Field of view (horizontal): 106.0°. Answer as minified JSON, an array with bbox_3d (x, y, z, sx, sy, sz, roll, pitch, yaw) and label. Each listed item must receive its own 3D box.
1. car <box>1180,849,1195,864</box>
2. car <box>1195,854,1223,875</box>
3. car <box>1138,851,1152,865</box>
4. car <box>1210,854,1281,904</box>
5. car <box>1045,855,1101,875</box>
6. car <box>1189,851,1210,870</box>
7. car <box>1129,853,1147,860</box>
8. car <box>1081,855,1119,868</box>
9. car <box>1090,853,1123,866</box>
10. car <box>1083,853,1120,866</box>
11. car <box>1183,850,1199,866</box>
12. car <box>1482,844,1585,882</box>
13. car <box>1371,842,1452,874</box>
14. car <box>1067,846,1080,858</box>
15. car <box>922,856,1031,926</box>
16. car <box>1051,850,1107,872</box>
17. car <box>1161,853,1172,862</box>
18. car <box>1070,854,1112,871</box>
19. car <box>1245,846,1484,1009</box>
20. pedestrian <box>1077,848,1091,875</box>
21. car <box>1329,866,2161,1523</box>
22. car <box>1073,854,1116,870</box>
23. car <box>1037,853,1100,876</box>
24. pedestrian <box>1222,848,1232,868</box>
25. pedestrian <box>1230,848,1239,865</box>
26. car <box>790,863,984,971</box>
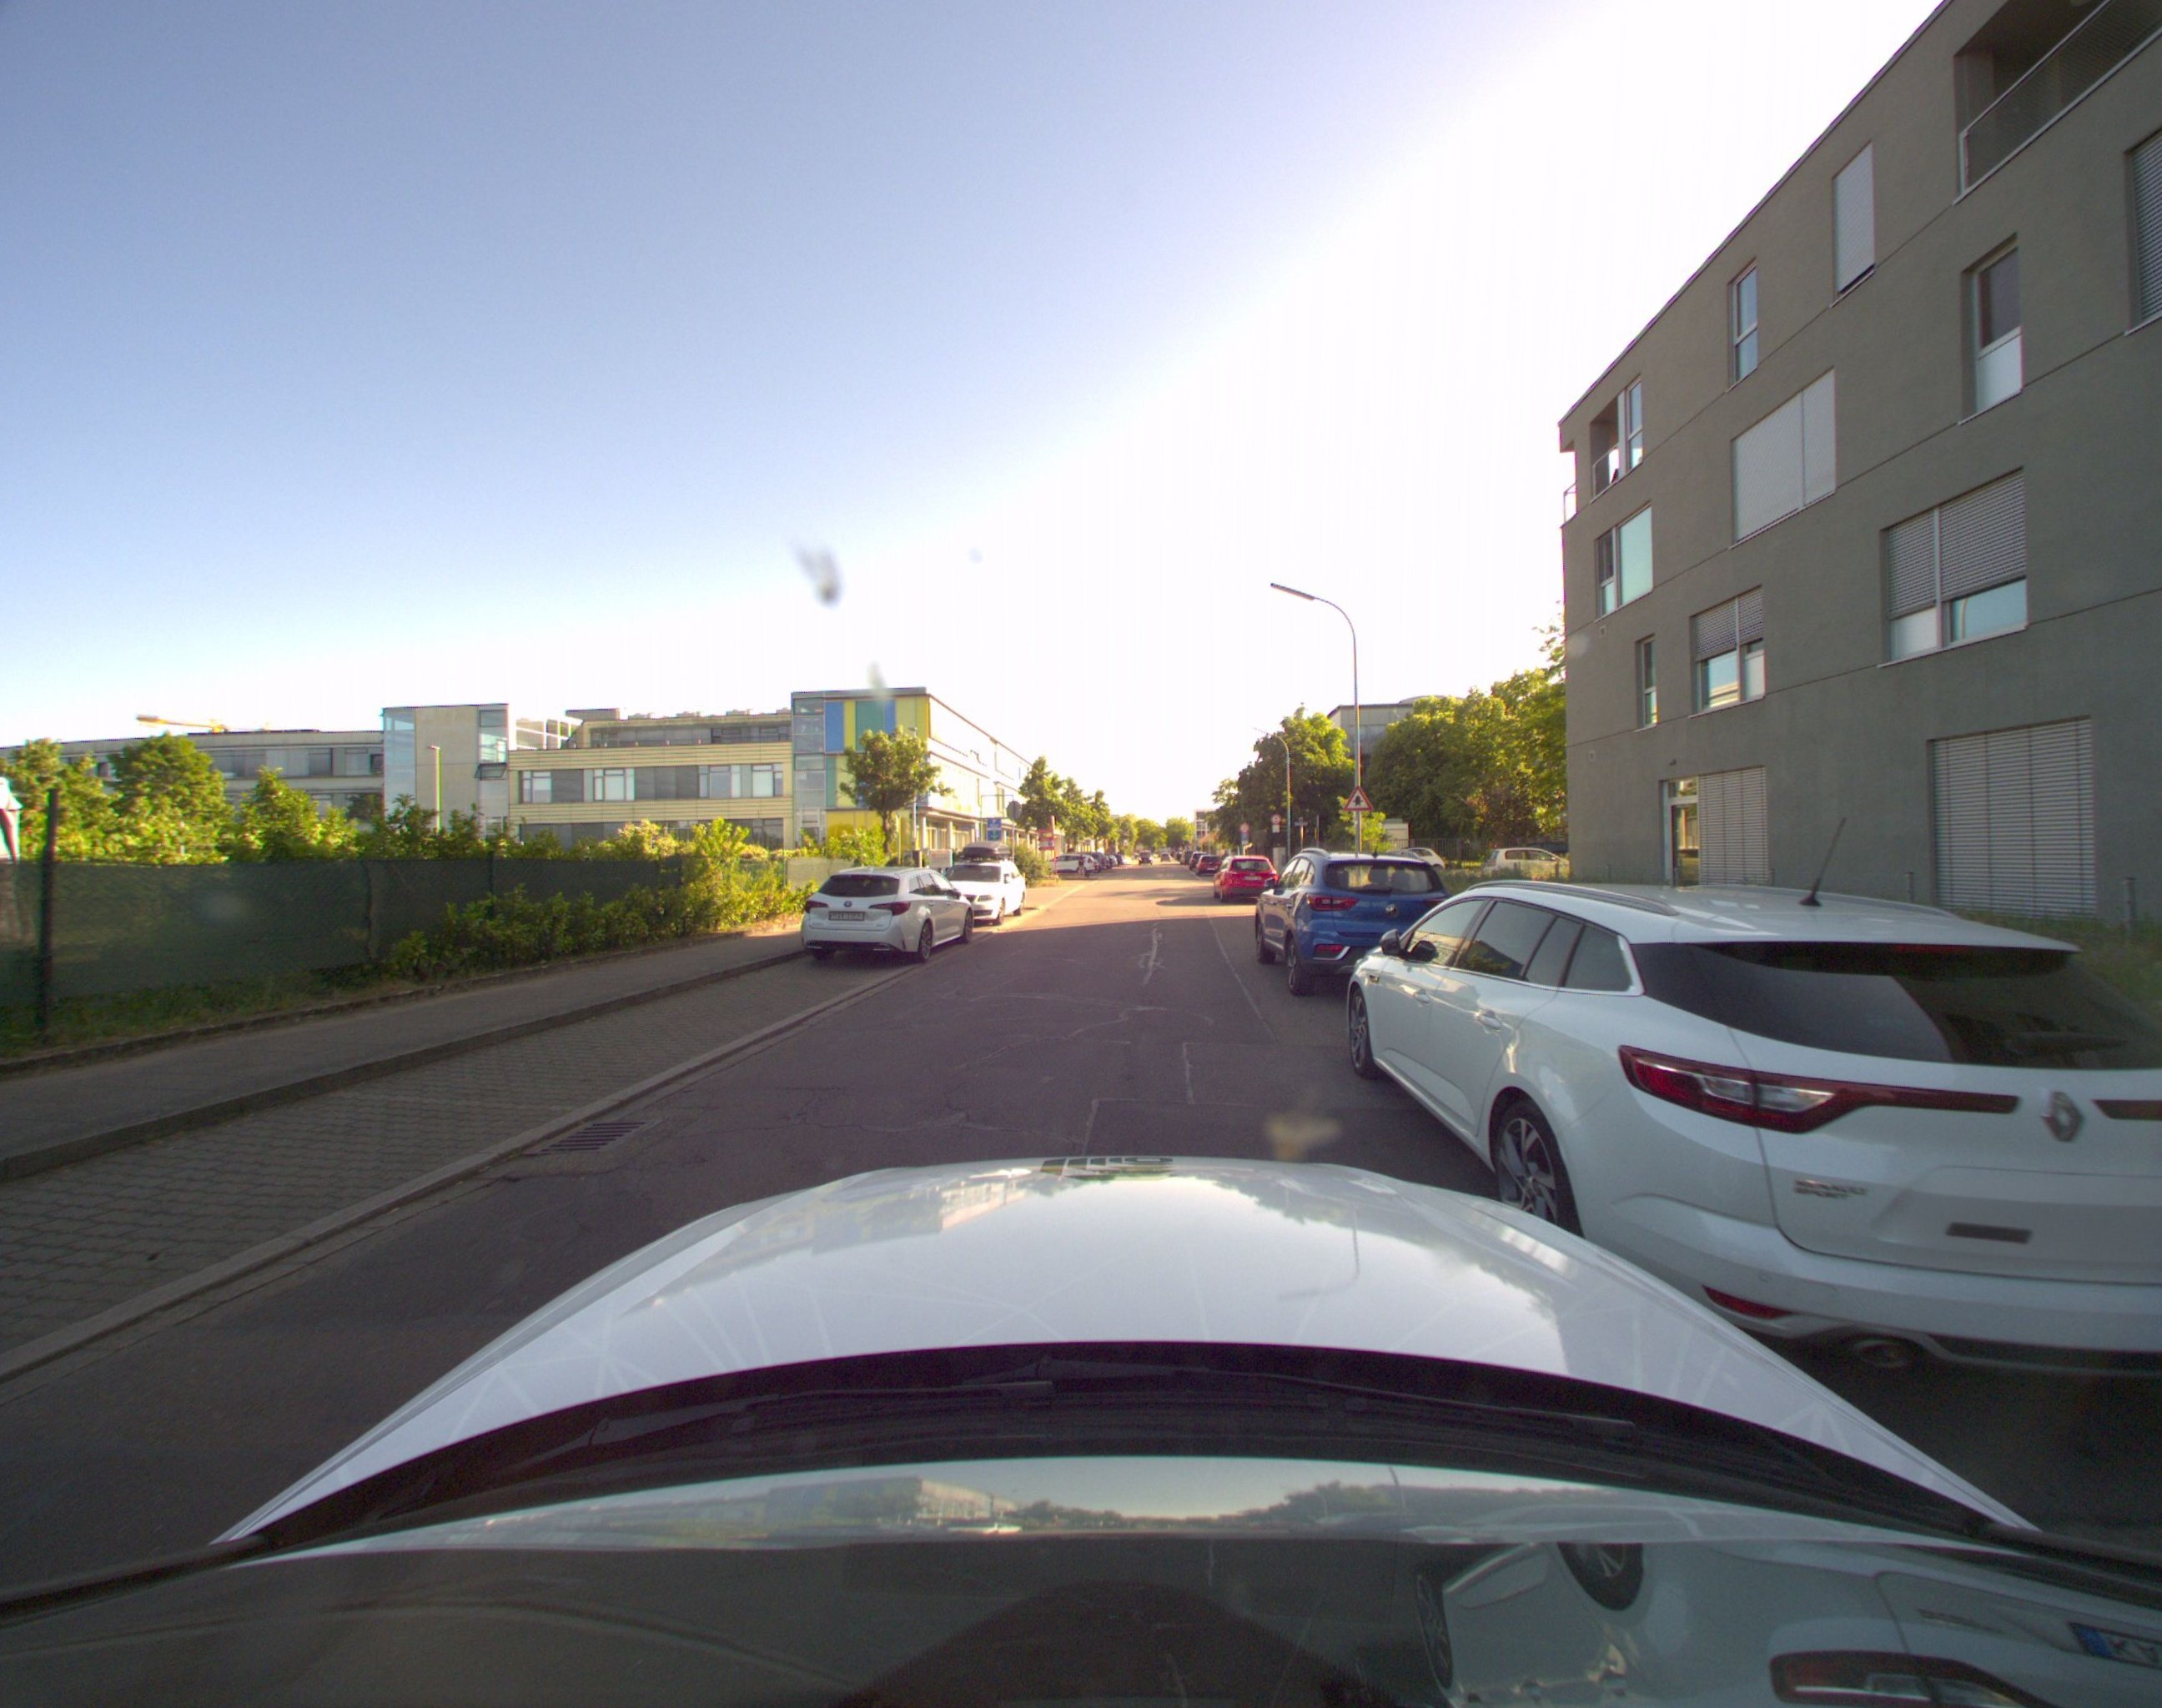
[{"bbox_3d":[14.695,0.337,112.305,1.865,1.978,4.006,-2,0,6],"label":"car"},{"bbox_3d":[9.230,0.751,59.005,1.711,1.455,4.659,0,0,5],"label":"car"},{"bbox_3d":[9.003,0.600,114.216,1.945,1.867,5.262,-2,0,5],"label":"car"},{"bbox_3d":[5.318,0.745,26.764,1.810,1.499,4.458,1,0,5],"label":"car"},{"bbox_3d":[-0.637,0.890,66.468,4.411,1.501,1.830,-1,-1,6],"label":"car"},{"bbox_3d":[10.923,0.595,74.983,1.802,1.666,4.601,0,1,7],"label":"car"},{"bbox_3d":[13.092,0.498,187.940,3.967,1.519,2.003,-1,-1,6],"label":"car"},{"bbox_3d":[2.067,0.831,87.802,3.972,1.358,1.744,0,0,2],"label":"car"},{"bbox_3d":[3.304,0.733,104.719,4.198,1.603,1.873,0,0,2],"label":"car"},{"bbox_3d":[2.391,0.633,94.768,4.198,1.462,1.873,0,0,2],"label":"car"},{"bbox_3d":[13.465,0.472,99.856,1.724,1.830,3.912,-1,0,6],"label":"car"},{"bbox_3d":[18.509,0.365,33.443,3.305,1.458,1.720,-1,0,10],"label":"car"},{"bbox_3d":[16.752,0.208,41.416,3.528,1.486,1.603,-1,0,6],"label":"car"},{"bbox_3d":[-1.316,-0.260,144.166,1.984,2.014,4.006,-1,-1,6],"label":"car"},{"bbox_3d":[-2.439,0.820,20.193,1.687,1.513,4.524,1,0,6],"label":"car"},{"bbox_3d":[-0.166,0.617,72.107,4.718,1.865,1.830,0,0,6],"label":"car"},{"bbox_3d":[14.074,0.580,134.544,1.735,1.543,4.006,-1,0,6],"label":"car"},{"bbox_3d":[0.984,0.807,79.035,3.972,1.607,1.873,0,0,2],"label":"car"},{"bbox_3d":[3.286,0.724,10.446,1.808,1.599,4.634,1,0,5],"label":"car"},{"bbox_3d":[0.225,0.515,56.318,0.853,1.842,0.827,1,0,7],"label":"pedestrian"},{"bbox_3d":[2.603,0.819,4.168,1.736,1.429,4.594,1,0,6],"label":"car"},{"bbox_3d":[1.361,0.768,81.972,4.230,1.611,2.049,0,0,2],"label":"car"},{"bbox_3d":[-0.953,0.819,63.827,4.585,1.651,1.872,-1,-1,9],"label":"car"},{"bbox_3d":[13.327,0.396,74.299,0.714,1.758,0.886,-3,0,6],"label":"pedestrian"},{"bbox_3d":[15.634,0.215,82.932,0.695,1.661,0.753,-4,0,5],"label":"pedestrian"},{"bbox_3d":[-3.036,0.914,13.827,1.738,1.446,4.549,1,0,6],"label":"car"}]
